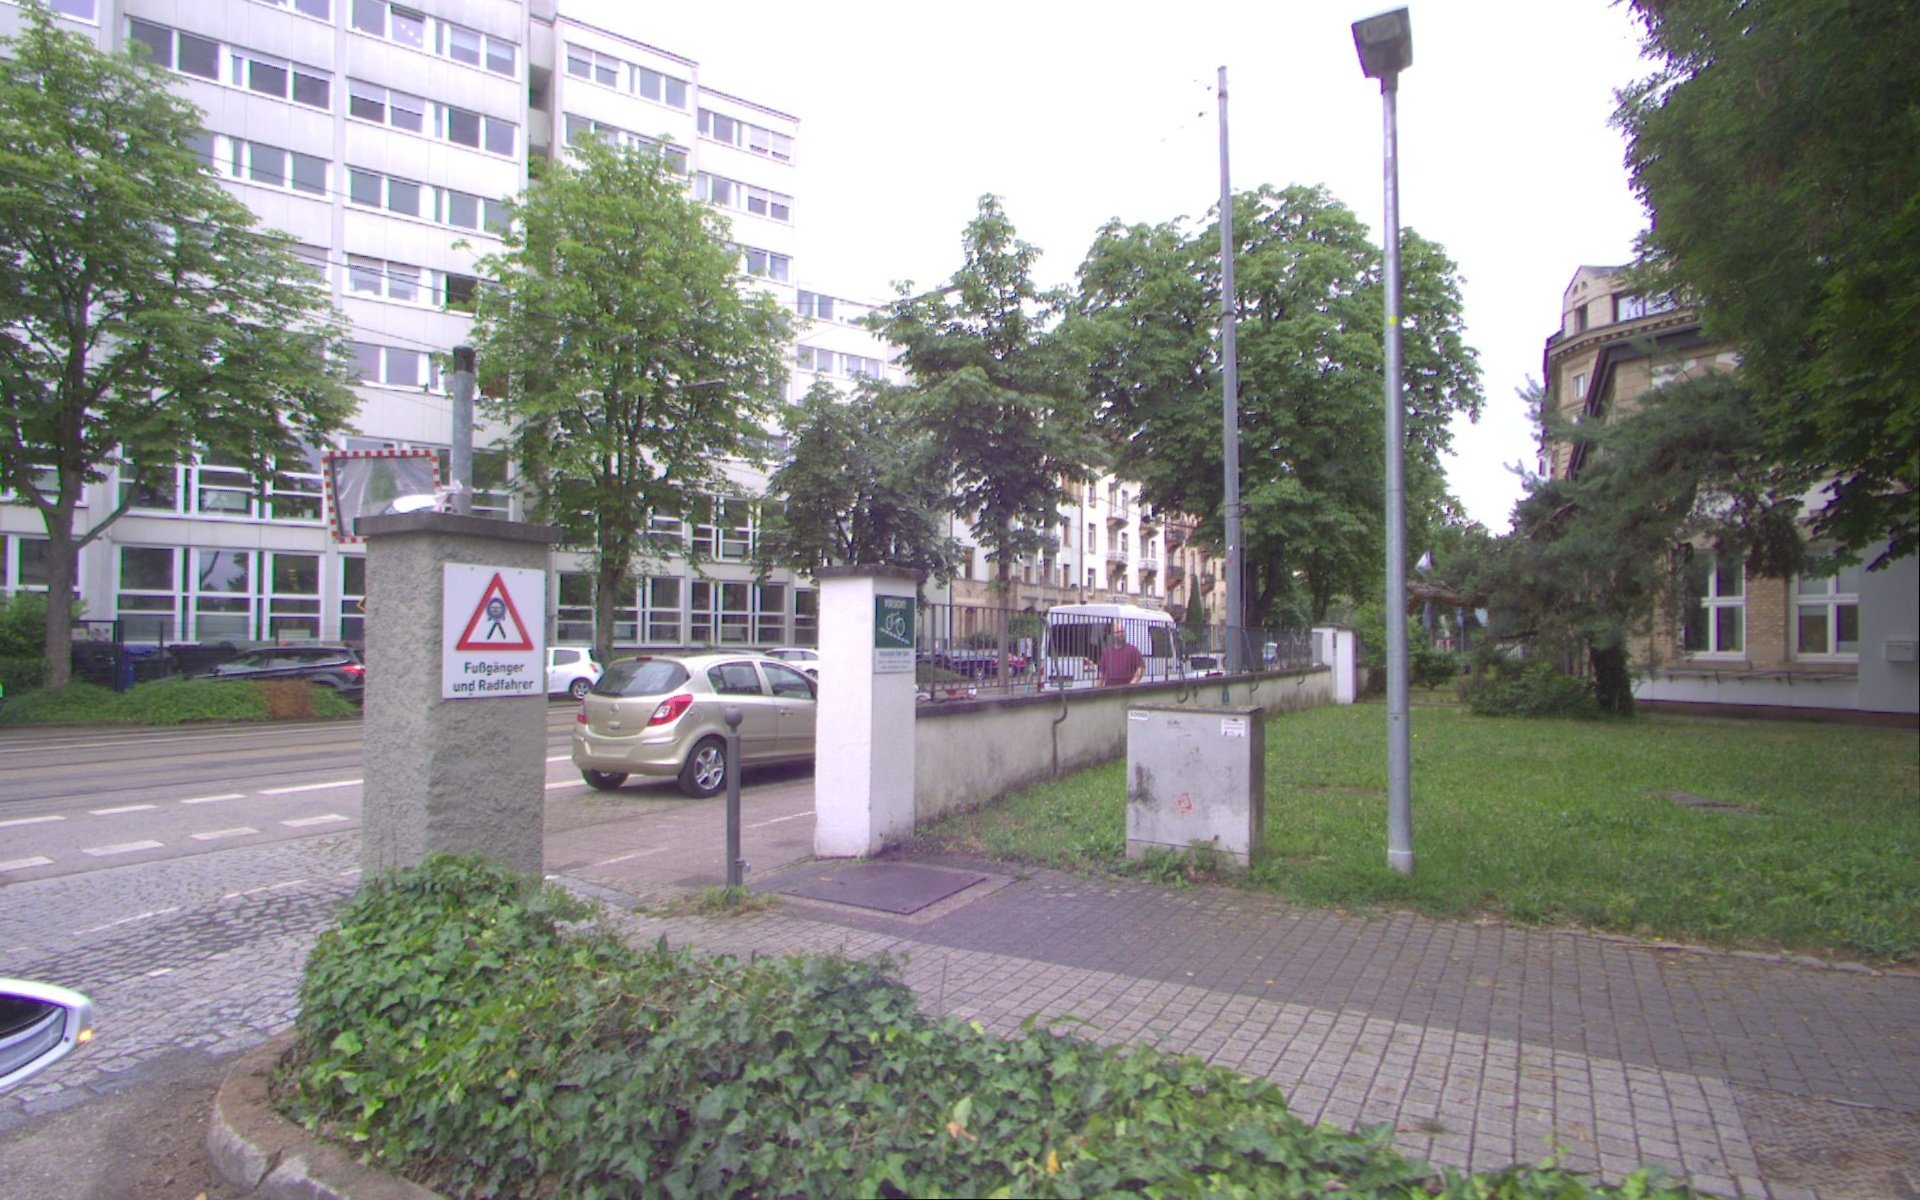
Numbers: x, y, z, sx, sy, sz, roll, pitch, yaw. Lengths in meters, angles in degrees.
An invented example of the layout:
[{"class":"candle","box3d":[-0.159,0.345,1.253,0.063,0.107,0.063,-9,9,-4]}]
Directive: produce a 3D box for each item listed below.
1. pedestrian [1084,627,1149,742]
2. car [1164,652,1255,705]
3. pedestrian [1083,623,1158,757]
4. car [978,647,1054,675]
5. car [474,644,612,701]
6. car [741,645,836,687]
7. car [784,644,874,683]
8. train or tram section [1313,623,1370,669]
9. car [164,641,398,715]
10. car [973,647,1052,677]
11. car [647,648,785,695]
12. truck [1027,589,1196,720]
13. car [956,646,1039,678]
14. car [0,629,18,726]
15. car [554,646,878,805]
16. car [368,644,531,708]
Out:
[{"class":"pedestrian","box3d":[2.475,1.317,15.805,0.789,1.740,0.953,-1,-2,24]},{"class":"car","box3d":[7.235,2.191,28.797,1.783,1.371,3.799,-1,-2,27]},{"class":"pedestrian","box3d":[2.181,1.187,13.551,0.795,1.740,0.953,0,-2,24]},{"class":"car","box3d":[2.935,3.213,52.948,3.723,1.460,1.692,1,-2,-9]},{"class":"car","box3d":[-11.452,1.962,27.673,3.328,1.492,1.415,0,-2,-14]},{"class":"car","box3d":[-6.242,2.387,36.386,3.328,1.492,1.416,1,-2,-14]},{"class":"car","box3d":[-5.099,2.455,38.969,3.328,1.492,1.415,1,-2,-14]},{"class":"train or tram section","box3d":[32.458,3.852,84.916,2.628,3.660,12.406,-1,-2,30]},{"class":"car","box3d":[-14.718,1.654,21.946,3.885,1.492,1.671,0,-2,-18]},{"class":"car","box3d":[2.615,3.133,50.654,3.723,1.460,1.692,1,-2,-9]},{"class":"car","box3d":[-8.189,2.396,33.577,4.420,1.491,1.416,1,-4,-18]},{"class":"truck","box3d":[3.530,1.192,22.436,2.137,2.578,4.908,-1,-3,30]},{"class":"car","box3d":[1.786,2.965,48.036,3.723,1.460,1.692,1,-2,-9]},{"class":"car","box3d":[-17.767,1.287,16.196,3.344,1.638,1.556,0,-2,-12]},{"class":"car","box3d":[-2.659,1.306,11.663,1.641,1.519,3.579,-1,-3,30]},{"class":"car","box3d":[-12.530,1.844,24.748,3.328,1.492,1.415,0,-2,-14]}]
